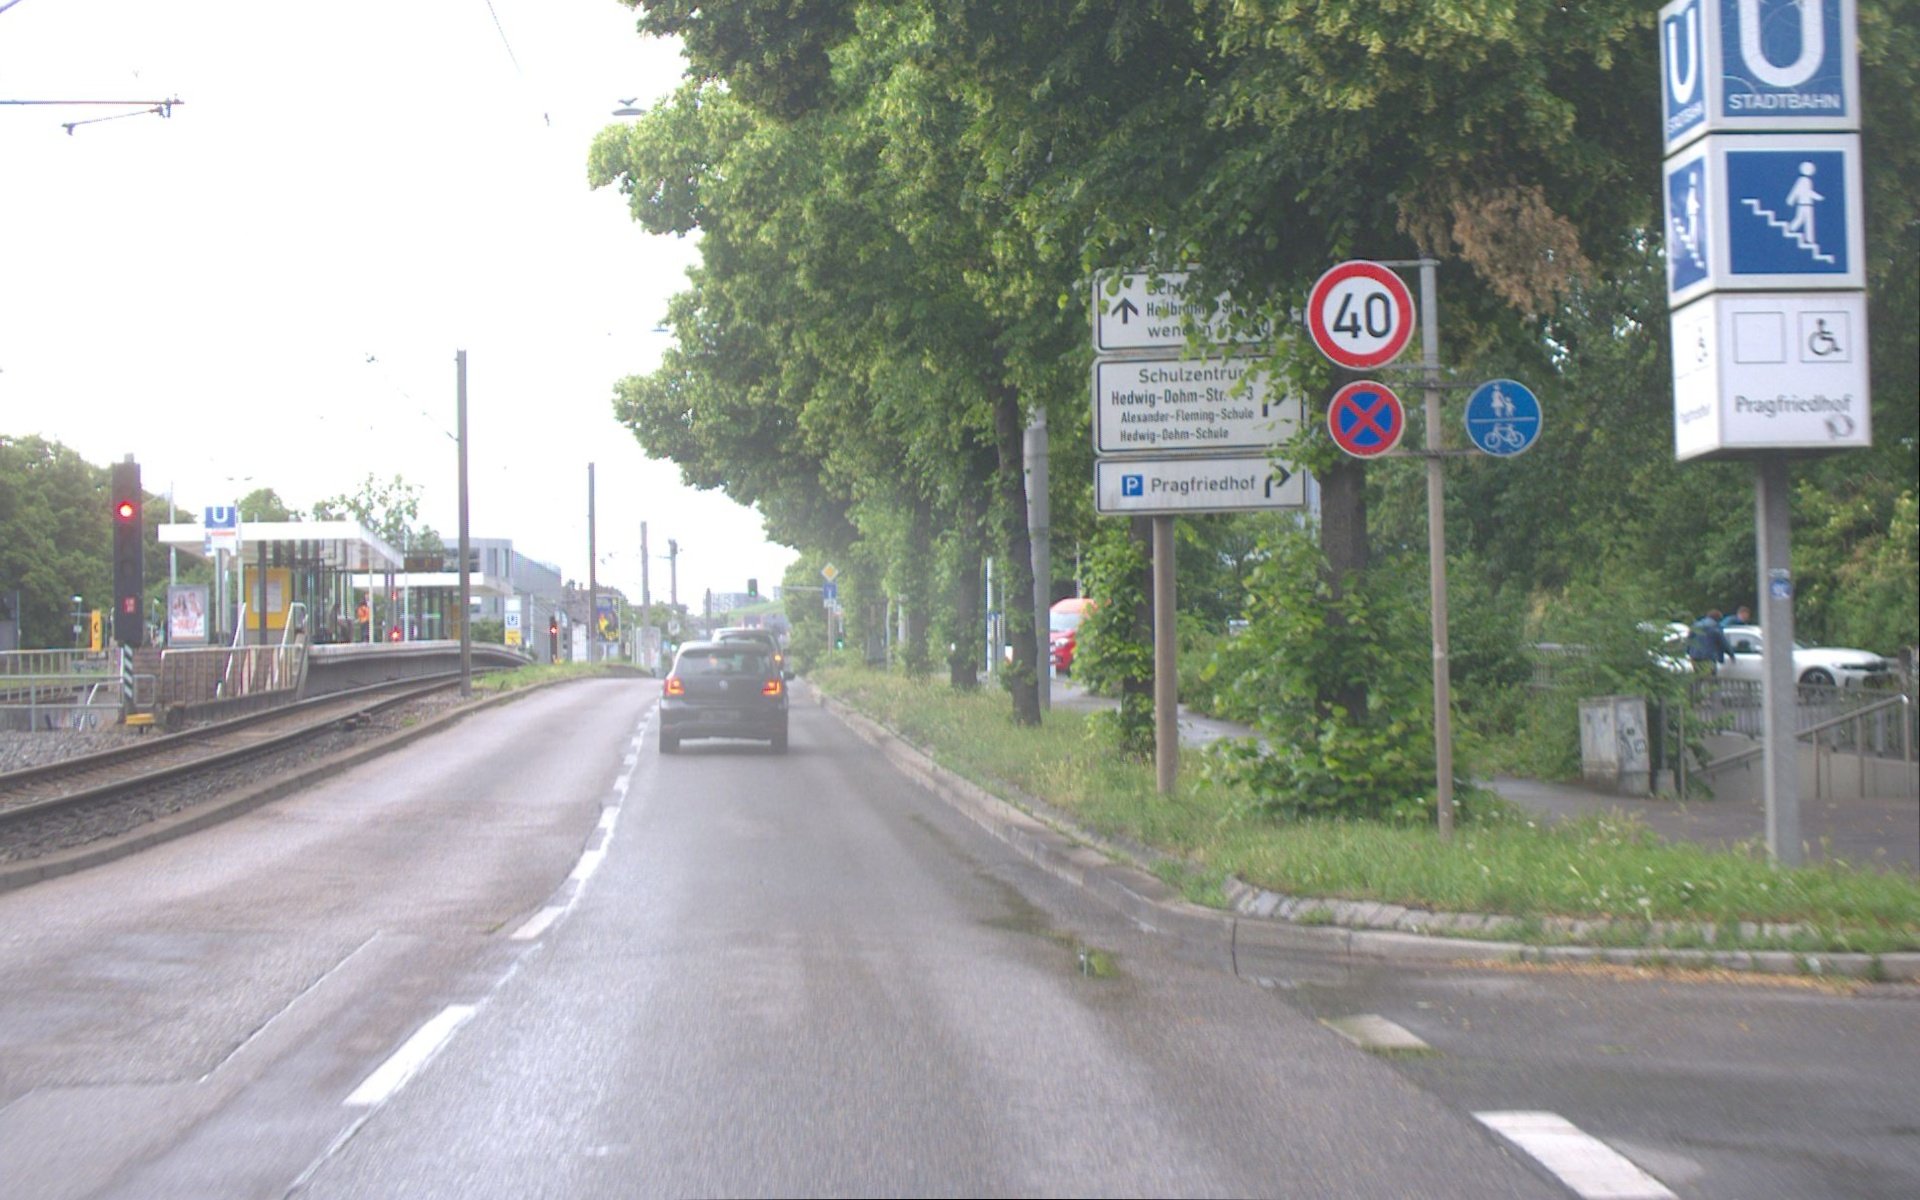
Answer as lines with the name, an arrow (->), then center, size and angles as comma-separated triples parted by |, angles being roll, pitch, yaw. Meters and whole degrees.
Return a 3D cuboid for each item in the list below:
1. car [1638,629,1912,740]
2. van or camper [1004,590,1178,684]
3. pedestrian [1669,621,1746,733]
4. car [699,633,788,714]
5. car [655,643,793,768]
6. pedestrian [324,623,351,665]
car -> 14.803, 1.523, 62.606 | 1.940, 1.828, 4.465 | 3, -1, -44
van or camper -> 3.833, 1.089, 99.761 | 2.039, 2.398, 5.378 | 3, -1, 40
pedestrian -> 13.460, 1.381, 61.910 | 0.960, 2.007, 0.951 | 1, -1, -27
car -> -4.258, 1.423, 67.639 | 1.687, 1.512, 4.000 | 0, 0, -3
car -> -3.084, 1.352, 45.240 | 1.726, 1.535, 4.000 | 0, 0, -3
pedestrian -> -18.206, 1.278, 100.523 | 0.710, 1.221, 0.619 | 0, -1, -3
